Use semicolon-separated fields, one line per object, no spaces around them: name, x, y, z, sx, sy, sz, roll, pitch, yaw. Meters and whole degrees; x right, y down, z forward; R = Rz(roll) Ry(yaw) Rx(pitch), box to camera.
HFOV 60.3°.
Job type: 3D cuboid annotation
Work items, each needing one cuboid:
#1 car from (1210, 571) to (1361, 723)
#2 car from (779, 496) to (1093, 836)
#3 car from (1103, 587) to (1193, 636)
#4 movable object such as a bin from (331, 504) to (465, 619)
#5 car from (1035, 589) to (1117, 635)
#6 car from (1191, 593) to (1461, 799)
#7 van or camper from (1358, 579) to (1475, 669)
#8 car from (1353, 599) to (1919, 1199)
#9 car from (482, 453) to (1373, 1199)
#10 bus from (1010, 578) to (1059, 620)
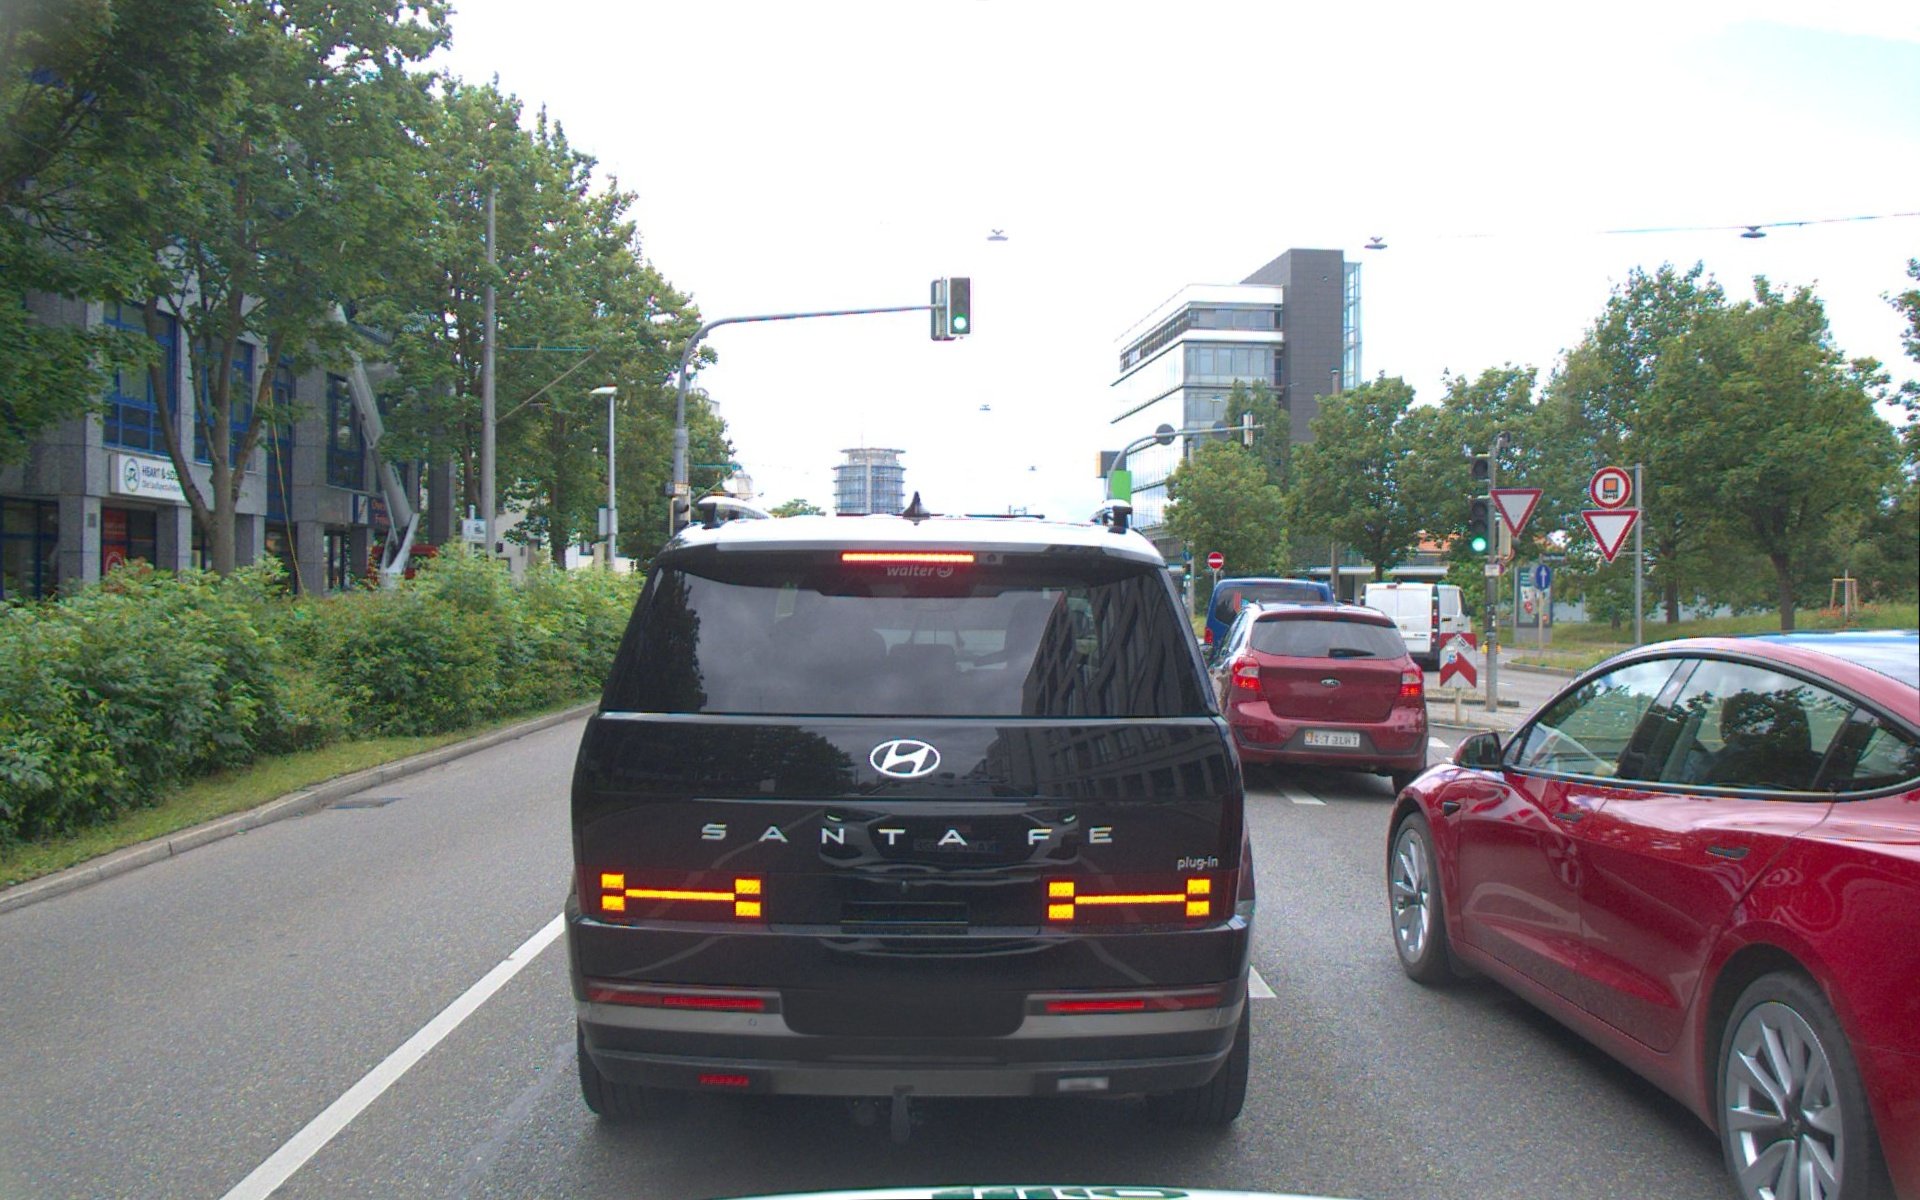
car;4.735;0.596;23.661;1.861;1.891;4.713;2;0;13
car;-0.009;0.387;12.393;1.862;2.003;4.638;2;0;3
car;6.773;0.393;60.066;1.856;1.591;4.381;2;1;-13
movable object such as a bin;-13.674;-0.921;40.490;1.867;2.575;4.126;3;0;-2
car;4.068;0.396;58.726;1.751;1.450;4.384;2;1;-11
car;3.024;0.717;14.360;1.708;1.507;3.720;1;0;4
van or camper;10.813;0.512;38.958;1.954;1.951;4.406;2;1;24
car;2.719;0.763;4.959;1.835;1.443;4.440;2;0;-2
car;-0.098;0.582;5.765;1.863;1.762;4.445;2;0;-1
bus;5.925;-0.041;133.311;2.908;3.171;9.236;-1;0;-4
